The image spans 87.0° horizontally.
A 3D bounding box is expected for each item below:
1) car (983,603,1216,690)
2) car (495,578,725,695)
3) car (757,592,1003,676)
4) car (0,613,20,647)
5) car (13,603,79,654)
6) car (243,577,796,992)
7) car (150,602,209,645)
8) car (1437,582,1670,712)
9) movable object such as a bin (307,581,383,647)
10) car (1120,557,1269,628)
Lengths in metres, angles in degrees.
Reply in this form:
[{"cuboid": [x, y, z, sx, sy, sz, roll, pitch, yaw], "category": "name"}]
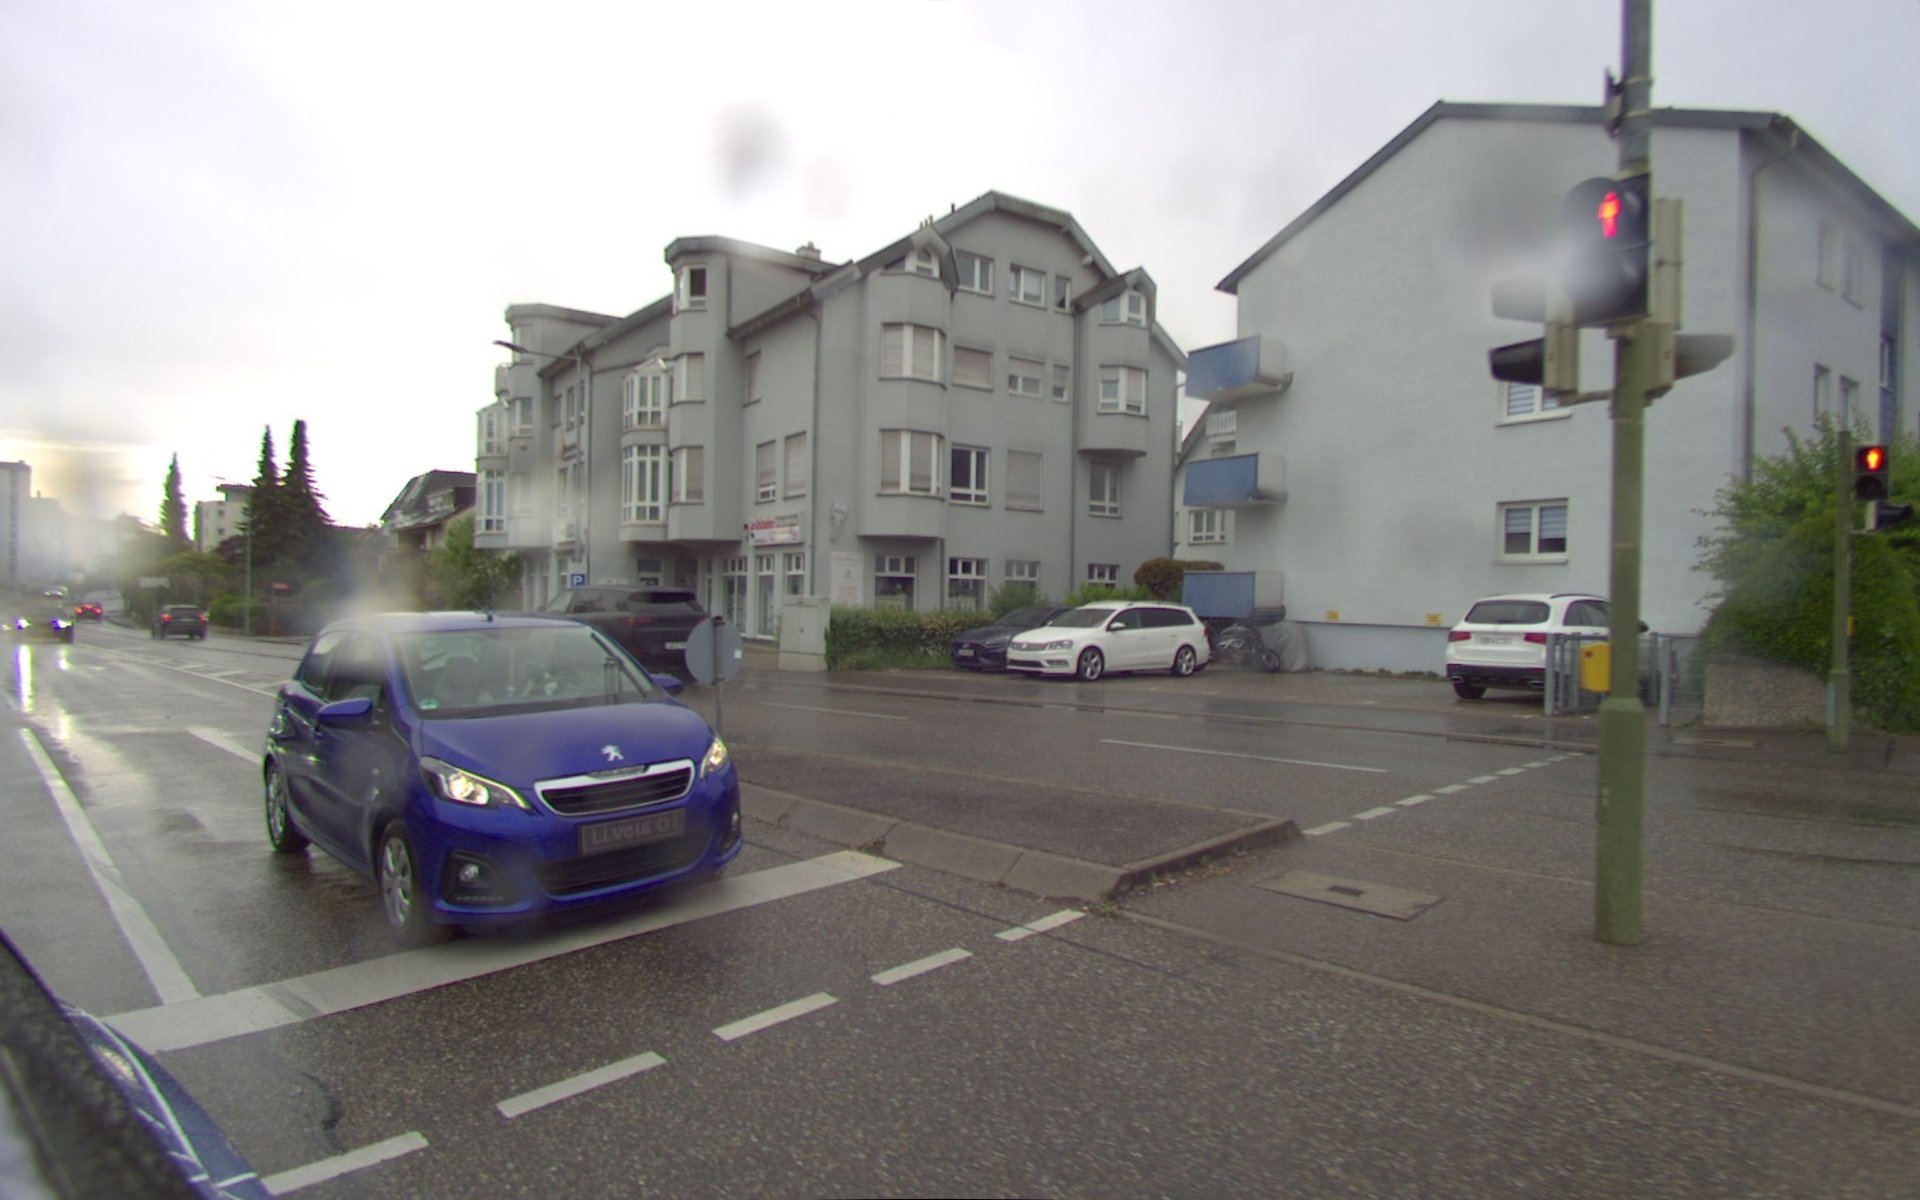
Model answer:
[{"cuboid": [2.803, 0.822, 19.845, 4.552, 1.508, 1.933, 0, -1, -39], "category": "car"}, {"cuboid": [-6.488, 0.601, 18.474, 4.735, 1.847, 2.073, -1, 0, 44], "category": "car"}, {"cuboid": [-1.685, 0.687, 22.927, 5.397, 1.696, 2.150, 0, -1, -43], "category": "car"}, {"cuboid": [-54.572, 1.676, 57.017, 3.998, 1.874, 1.972, 0, -2, 41], "category": "car"}, {"cuboid": [-37.960, 1.150, 42.073, 1.969, 2.029, 4.005, 0, -1, -42], "category": "car"}, {"cuboid": [-2.585, 0.711, 5.586, 3.352, 1.568, 1.629, -1, 0, 44], "category": "car"}, {"cuboid": [-39.145, 1.143, 50.713, 1.970, 2.029, 4.004, 0, -1, -43], "category": "car"}, {"cuboid": [9.240, 0.642, 15.661, 3.936, 1.763, 1.833, 0, -1, -39], "category": "car"}, {"cuboid": [-27.858, 0.623, 45.957, 2.878, 2.863, 2.203, 0, -1, -30], "category": "movable object such as a bin"}, {"cuboid": [7.104, -0.209, 30.772, 3.931, 2.029, 2.006, 0, -1, -20], "category": "car"}]
